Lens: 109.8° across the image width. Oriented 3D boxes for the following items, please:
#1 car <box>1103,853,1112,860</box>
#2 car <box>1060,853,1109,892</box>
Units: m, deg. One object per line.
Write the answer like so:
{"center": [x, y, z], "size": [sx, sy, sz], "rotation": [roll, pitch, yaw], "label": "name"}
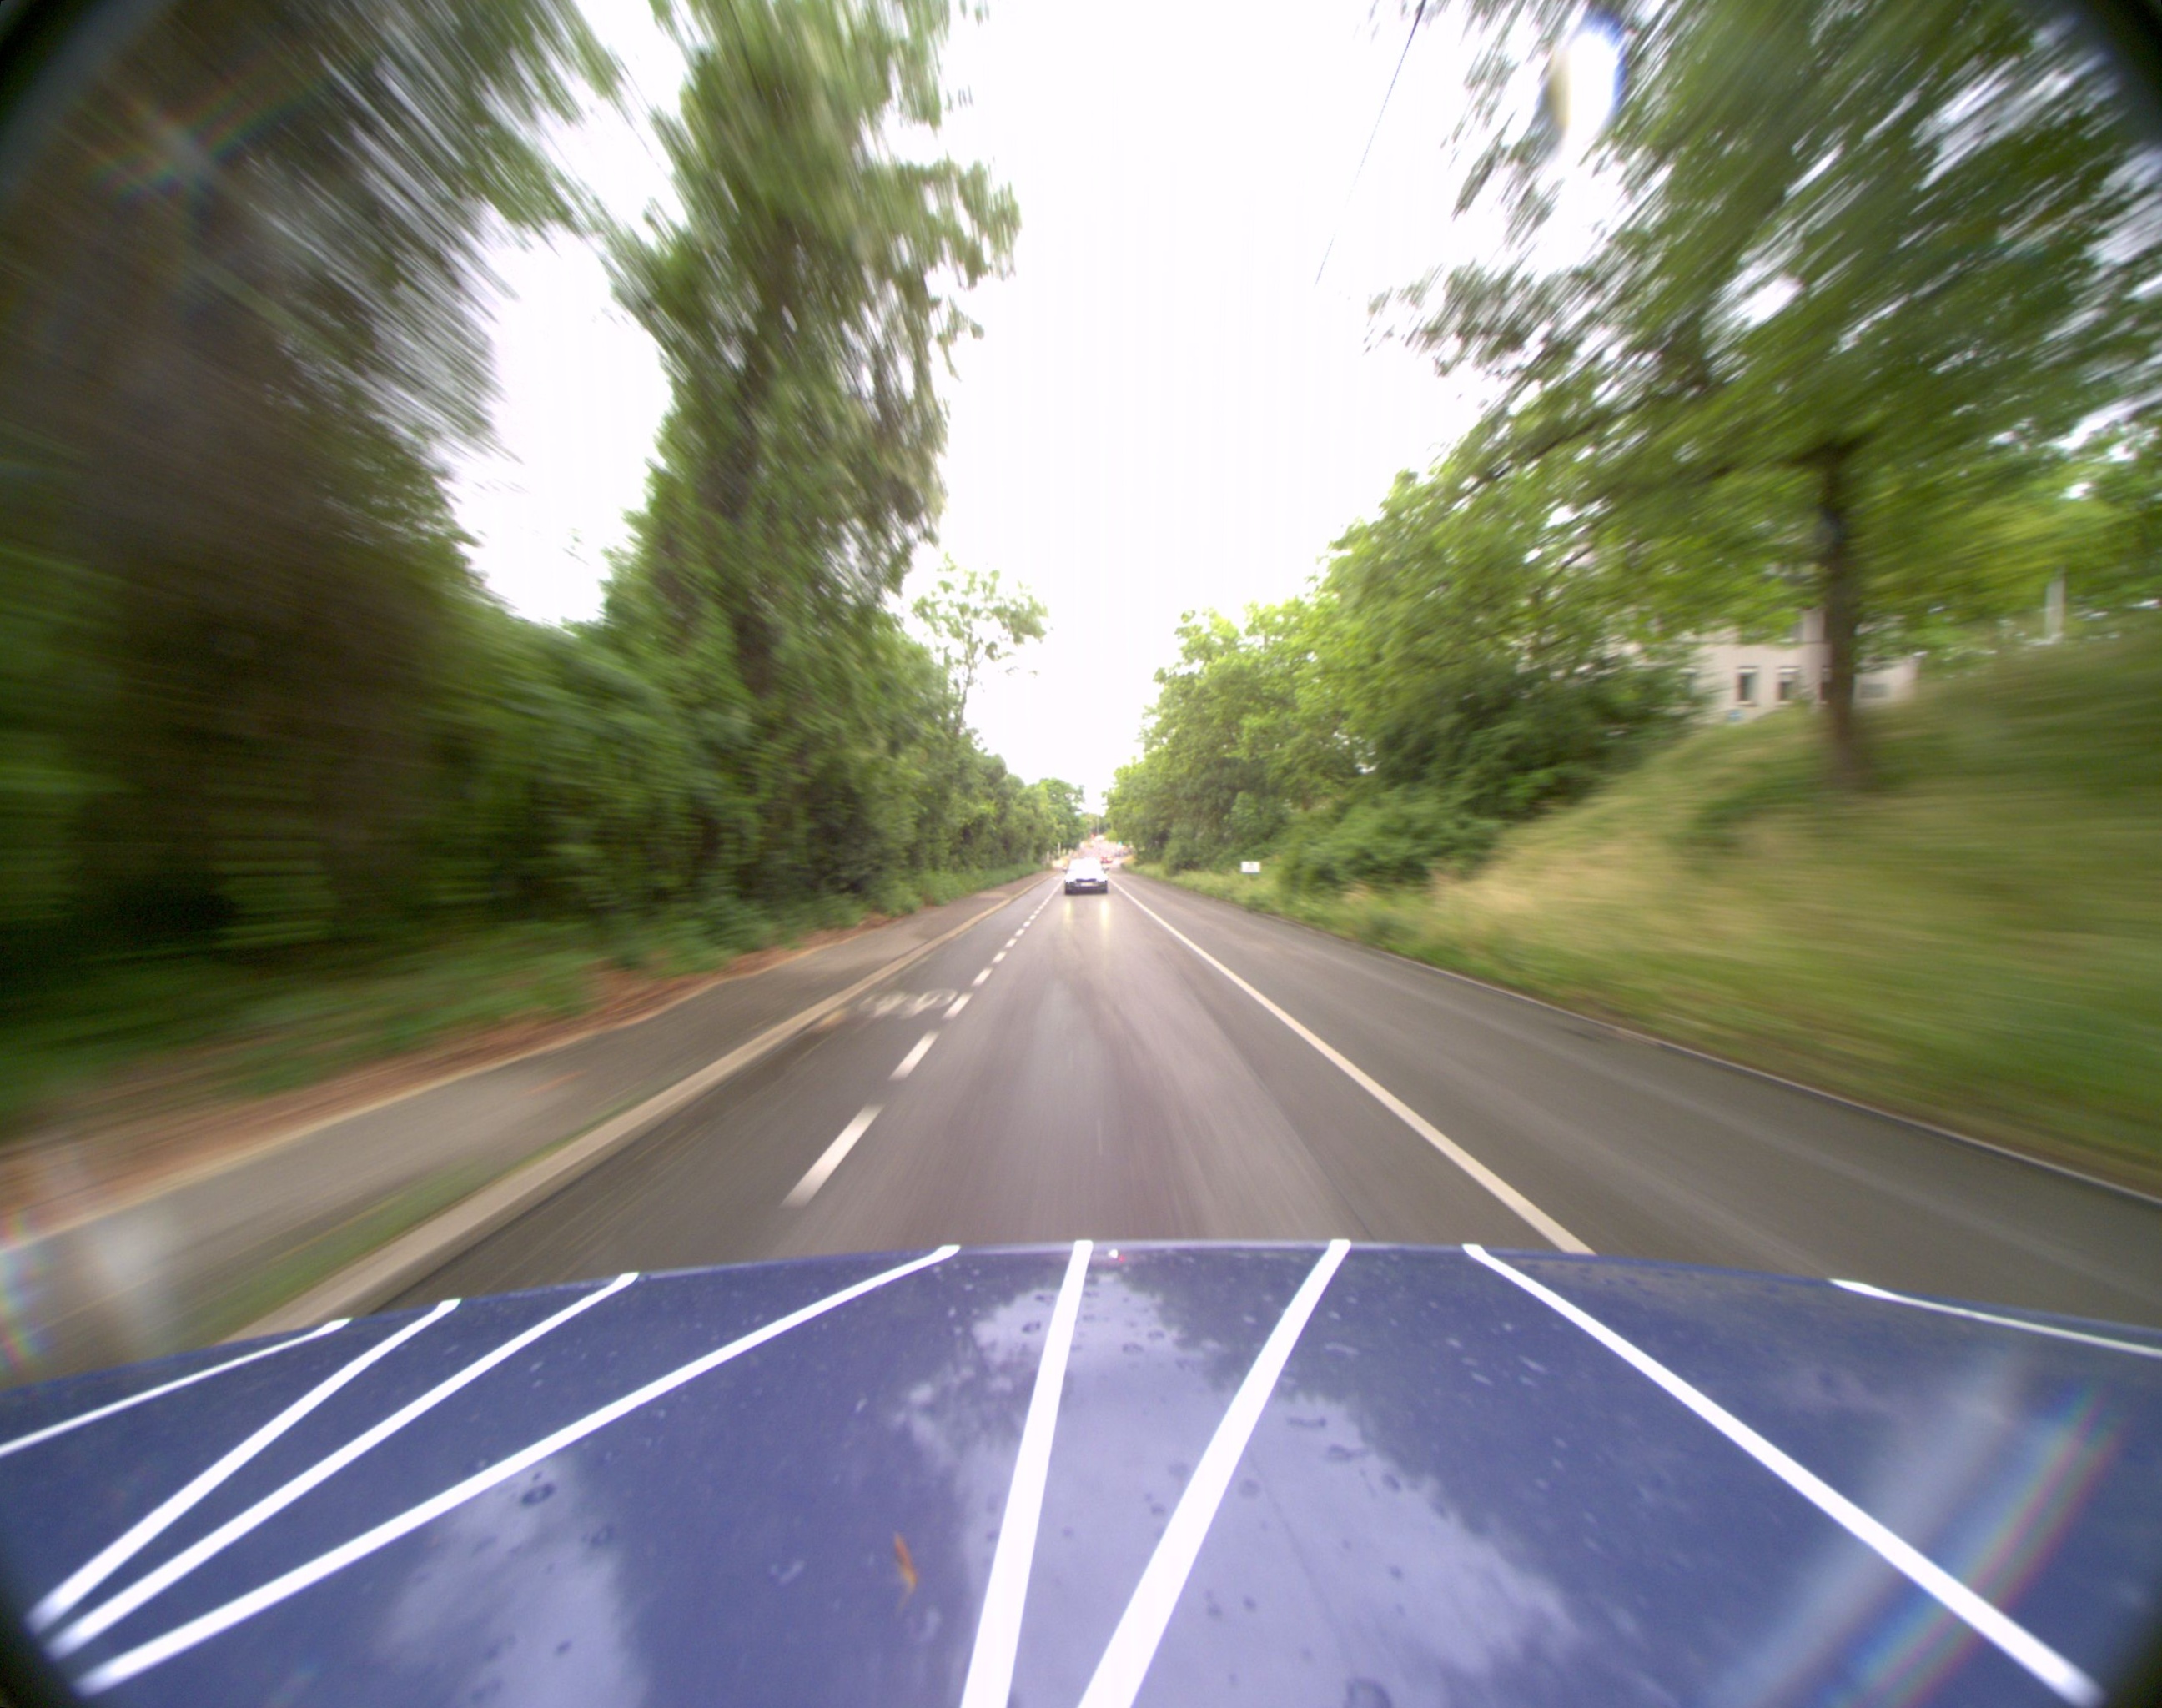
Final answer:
{"center": [6.444, 0.609, 187.715], "size": [1.981, 1.497, 3.999], "rotation": [-2, 1, 0], "label": "car"}
{"center": [0.155, 0.761, 33.584], "size": [1.981, 1.497, 3.999], "rotation": [-2, 1, 0], "label": "car"}
